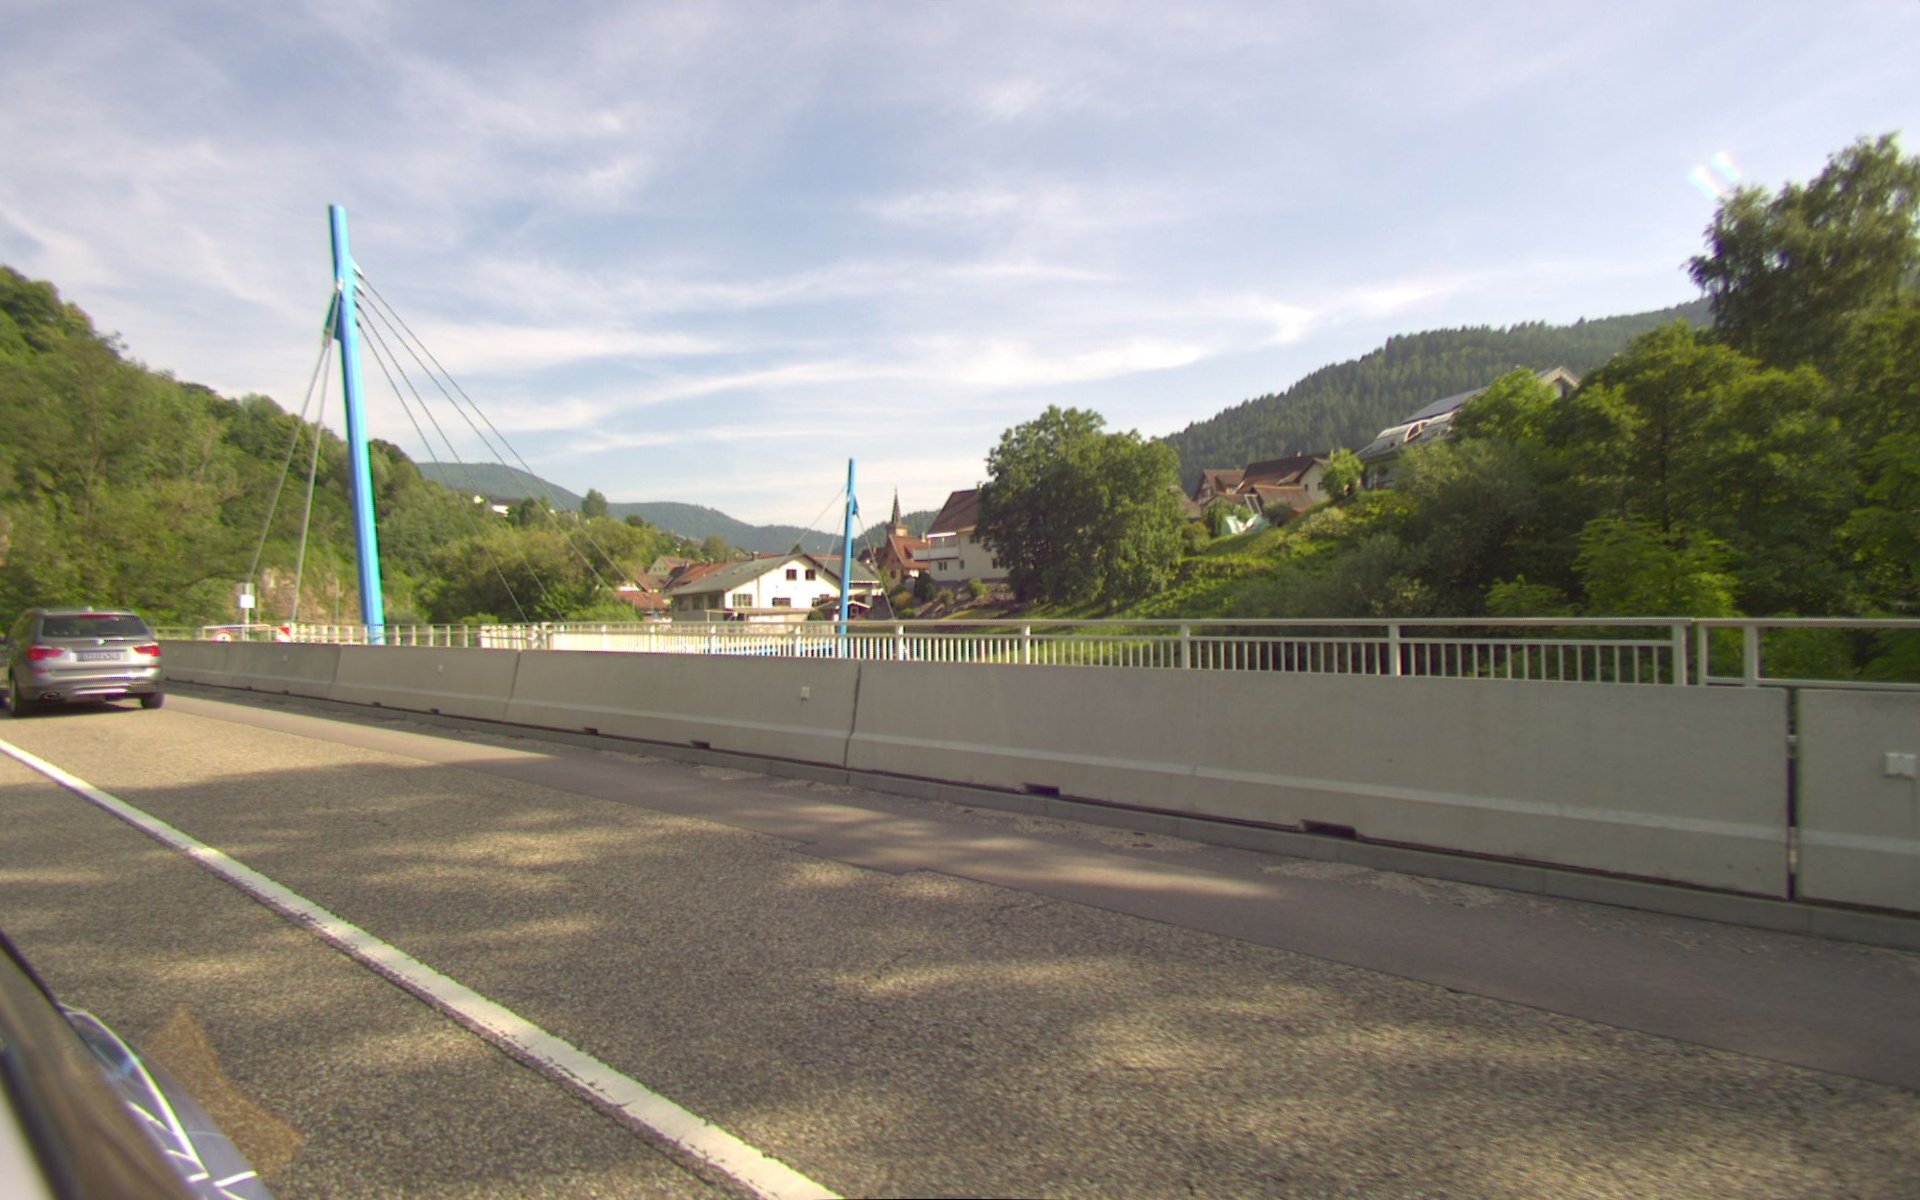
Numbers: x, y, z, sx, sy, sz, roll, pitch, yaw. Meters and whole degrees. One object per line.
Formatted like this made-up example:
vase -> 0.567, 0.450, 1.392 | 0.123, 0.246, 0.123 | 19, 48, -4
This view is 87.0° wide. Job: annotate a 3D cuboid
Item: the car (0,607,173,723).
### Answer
car -> -14.799, 0.981, 16.720 | 4.504, 1.641, 1.973 | -1, -1, 41
